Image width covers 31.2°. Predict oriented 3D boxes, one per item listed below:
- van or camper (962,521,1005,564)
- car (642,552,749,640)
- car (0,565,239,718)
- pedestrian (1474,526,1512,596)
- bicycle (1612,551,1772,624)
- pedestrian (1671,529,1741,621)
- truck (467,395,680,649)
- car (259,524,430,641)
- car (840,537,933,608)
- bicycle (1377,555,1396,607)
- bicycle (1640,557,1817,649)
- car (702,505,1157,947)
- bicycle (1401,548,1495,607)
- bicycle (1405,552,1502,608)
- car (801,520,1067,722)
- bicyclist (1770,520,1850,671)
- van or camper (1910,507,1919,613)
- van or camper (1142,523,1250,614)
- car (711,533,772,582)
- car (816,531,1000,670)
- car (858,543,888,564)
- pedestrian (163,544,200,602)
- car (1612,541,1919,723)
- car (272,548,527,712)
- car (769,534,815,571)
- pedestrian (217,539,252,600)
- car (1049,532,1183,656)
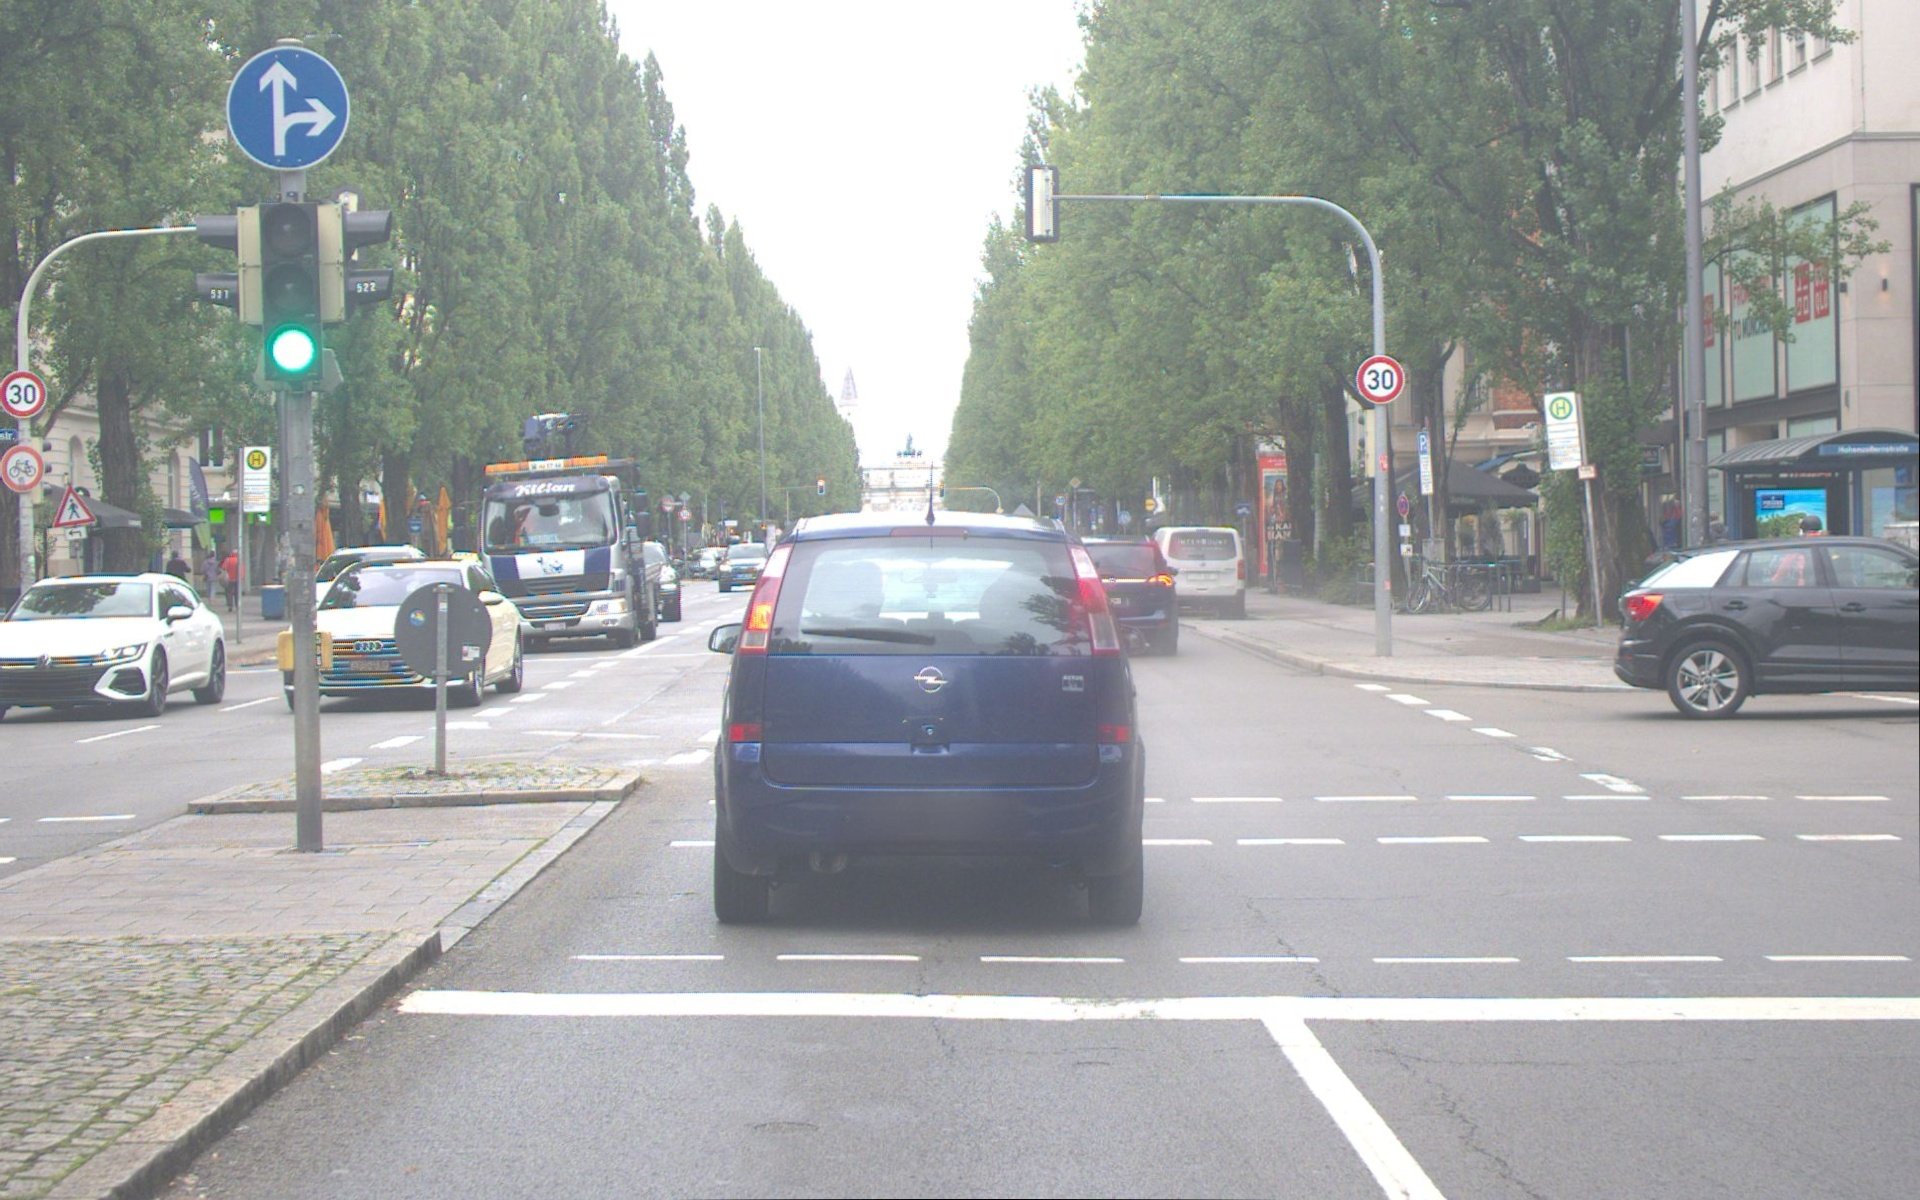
[{"bbox_3d":[1.410,-3.516,209.627,2.476,2.572,5.845,-1,1,0],"label":"van or camper"},{"bbox_3d":[-5.520,-0.115,72.181,1.884,1.740,4.439,-1,1,0],"label":"car"},{"bbox_3d":[-8.781,0.379,35.274,1.823,1.403,4.633,-2,1,-1],"label":"car"},{"bbox_3d":[14.151,-1.047,91.292,0.826,1.834,1.099,-1,1,0],"label":"pedestrian"},{"bbox_3d":[10.699,-0.188,50.292,2.148,1.013,0.874,-1,1,-1],"label":"bicycle"},{"bbox_3d":[13.734,-0.460,63.280,0.984,1.668,0.825,-2,1,-40],"label":"pedestrian"},{"bbox_3d":[-5.993,-1.221,54.487,2.463,3.657,8.440,-1,1,-1],"label":"truck"},{"bbox_3d":[-9.628,-0.306,54.114,1.837,1.710,4.636,-2,1,0],"label":"car"},{"bbox_3d":[-1.633,-0.624,75.782,1.993,1.492,4.000,-1,1,-2],"label":"car"},{"bbox_3d":[8.868,-0.404,71.462,0.364,1.034,1.730,-1,1,7],"label":"bicycle"},{"bbox_3d":[10.795,0.032,48.322,2.343,1.248,0.633,-1,1,-1],"label":"bicycle"},{"bbox_3d":[-0.169,0.425,14.717,1.681,1.635,4.000,0,1,-2],"label":"car"},{"bbox_3d":[9.439,-0.436,66.472,1.737,1.106,0.448,-1,1,-10],"label":"bicycle"},{"bbox_3d":[9.438,-0.389,65.731,1.757,1.040,0.484,-1,1,-10],"label":"bicycle"},{"bbox_3d":[-0.253,0.119,28.110,1.993,1.492,4.000,-1,1,-2],"label":"car"},{"bbox_3d":[9.051,-0.055,36.629,0.621,1.583,0.753,-1,1,-1],"label":"bicyclist"},{"bbox_3d":[18.971,-0.685,60.313,4.105,1.860,1.898,0,1,3],"label":"van or camper"},{"bbox_3d":[4.994,-0.688,73.295,1.868,1.876,4.903,0,1,-1],"label":"van or camper"},{"bbox_3d":[-7.652,-1.519,120.834,1.913,1.675,4.586,-1,1,-1],"label":"car"},{"bbox_3d":[-0.623,-0.035,39.591,1.993,1.492,4.000,-1,1,-2],"label":"car"},{"bbox_3d":[-5.882,-3.166,232.425,1.961,1.394,3.779,-1,1,-1],"label":"car"},{"bbox_3d":[-20.798,-0.721,91.852,0.768,1.532,0.805,-1,1,-1],"label":"pedestrian"},{"bbox_3d":[7.539,0.247,28.910,3.989,1.456,1.758,-1,1,12],"label":"car"},{"bbox_3d":[-5.673,0.244,35.373,1.843,1.496,4.986,-2,1,-1],"label":"car"},{"bbox_3d":[-7.650,-2.173,157.191,1.935,1.618,4.337,-1,1,-1],"label":"car"},{"bbox_3d":[-19.827,-0.842,94.007,0.734,1.667,0.952,-1,1,-1],"label":"pedestrian"},{"bbox_3d":[2.132,-0.115,47.885,1.706,1.568,4.000,-1,2,1],"label":"car"}]
